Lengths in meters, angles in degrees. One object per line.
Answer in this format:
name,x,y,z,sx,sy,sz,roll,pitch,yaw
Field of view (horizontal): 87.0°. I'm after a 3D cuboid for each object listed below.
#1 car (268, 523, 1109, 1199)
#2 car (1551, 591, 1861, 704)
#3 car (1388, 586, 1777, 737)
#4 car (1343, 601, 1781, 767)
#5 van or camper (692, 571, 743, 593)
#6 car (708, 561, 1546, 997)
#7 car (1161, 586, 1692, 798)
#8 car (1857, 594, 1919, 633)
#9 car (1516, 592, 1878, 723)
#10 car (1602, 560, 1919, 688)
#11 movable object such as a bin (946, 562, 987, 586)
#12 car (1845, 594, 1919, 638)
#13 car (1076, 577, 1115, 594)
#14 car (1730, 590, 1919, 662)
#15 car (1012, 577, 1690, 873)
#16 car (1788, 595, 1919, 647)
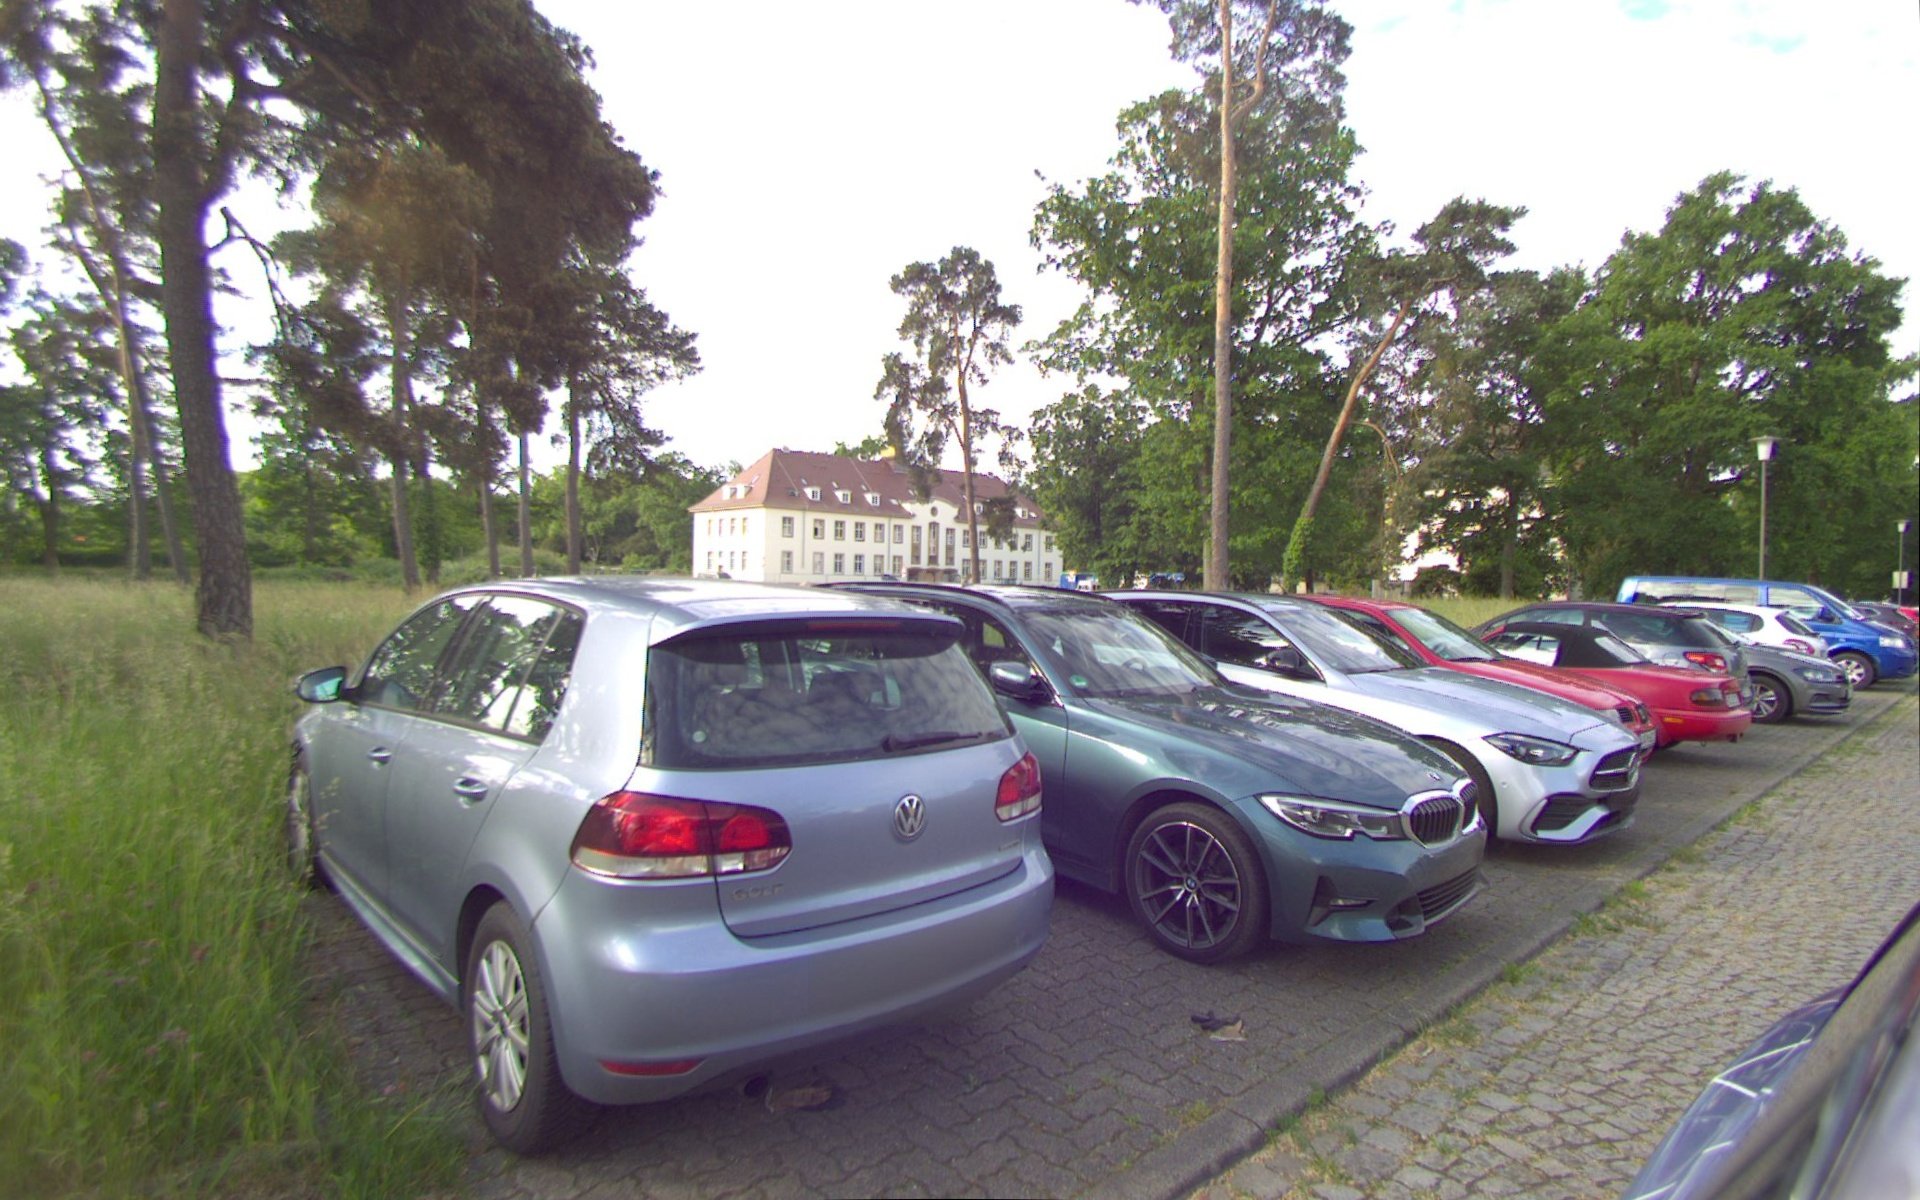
car,-1.435,0.532,4.083,1.615,1.489,3.846,0,1,-44
car,11.884,0.660,16.317,1.553,1.517,3.760,0,1,-40
car,7.568,0.627,12.587,1.577,1.522,3.834,0,1,-42
car,6.028,0.726,10.431,1.580,1.303,3.553,2,0,-41
van or camper,-25.169,-1.880,104.883,6.059,2.251,1.970,2,1,42
car,0.536,0.555,5.738,1.778,1.502,4.516,0,1,-44
car,4.044,0.639,9.339,1.690,1.441,4.115,0,1,-41
car,39.929,0.588,41.951,1.643,1.548,3.839,0,1,-37
car,10.046,0.673,14.020,1.614,1.484,3.780,0,1,-40
car,15.822,0.345,19.919,2.024,2.047,4.952,0,3,-41
movable object such as a bin,0.838,-3.150,122.456,1.993,2.802,5.124,2,1,42
car,37.185,0.633,39.429,1.552,1.638,3.839,0,1,-37
car,14.087,-1.503,105.134,3.866,1.704,1.847,0,3,-40
car,22.065,0.600,25.678,3.829,1.621,1.556,2,1,45
car,2.550,0.616,7.469,1.737,1.446,4.331,0,2,-43
car,29.349,0.648,32.738,3.829,1.544,1.556,2,1,45
